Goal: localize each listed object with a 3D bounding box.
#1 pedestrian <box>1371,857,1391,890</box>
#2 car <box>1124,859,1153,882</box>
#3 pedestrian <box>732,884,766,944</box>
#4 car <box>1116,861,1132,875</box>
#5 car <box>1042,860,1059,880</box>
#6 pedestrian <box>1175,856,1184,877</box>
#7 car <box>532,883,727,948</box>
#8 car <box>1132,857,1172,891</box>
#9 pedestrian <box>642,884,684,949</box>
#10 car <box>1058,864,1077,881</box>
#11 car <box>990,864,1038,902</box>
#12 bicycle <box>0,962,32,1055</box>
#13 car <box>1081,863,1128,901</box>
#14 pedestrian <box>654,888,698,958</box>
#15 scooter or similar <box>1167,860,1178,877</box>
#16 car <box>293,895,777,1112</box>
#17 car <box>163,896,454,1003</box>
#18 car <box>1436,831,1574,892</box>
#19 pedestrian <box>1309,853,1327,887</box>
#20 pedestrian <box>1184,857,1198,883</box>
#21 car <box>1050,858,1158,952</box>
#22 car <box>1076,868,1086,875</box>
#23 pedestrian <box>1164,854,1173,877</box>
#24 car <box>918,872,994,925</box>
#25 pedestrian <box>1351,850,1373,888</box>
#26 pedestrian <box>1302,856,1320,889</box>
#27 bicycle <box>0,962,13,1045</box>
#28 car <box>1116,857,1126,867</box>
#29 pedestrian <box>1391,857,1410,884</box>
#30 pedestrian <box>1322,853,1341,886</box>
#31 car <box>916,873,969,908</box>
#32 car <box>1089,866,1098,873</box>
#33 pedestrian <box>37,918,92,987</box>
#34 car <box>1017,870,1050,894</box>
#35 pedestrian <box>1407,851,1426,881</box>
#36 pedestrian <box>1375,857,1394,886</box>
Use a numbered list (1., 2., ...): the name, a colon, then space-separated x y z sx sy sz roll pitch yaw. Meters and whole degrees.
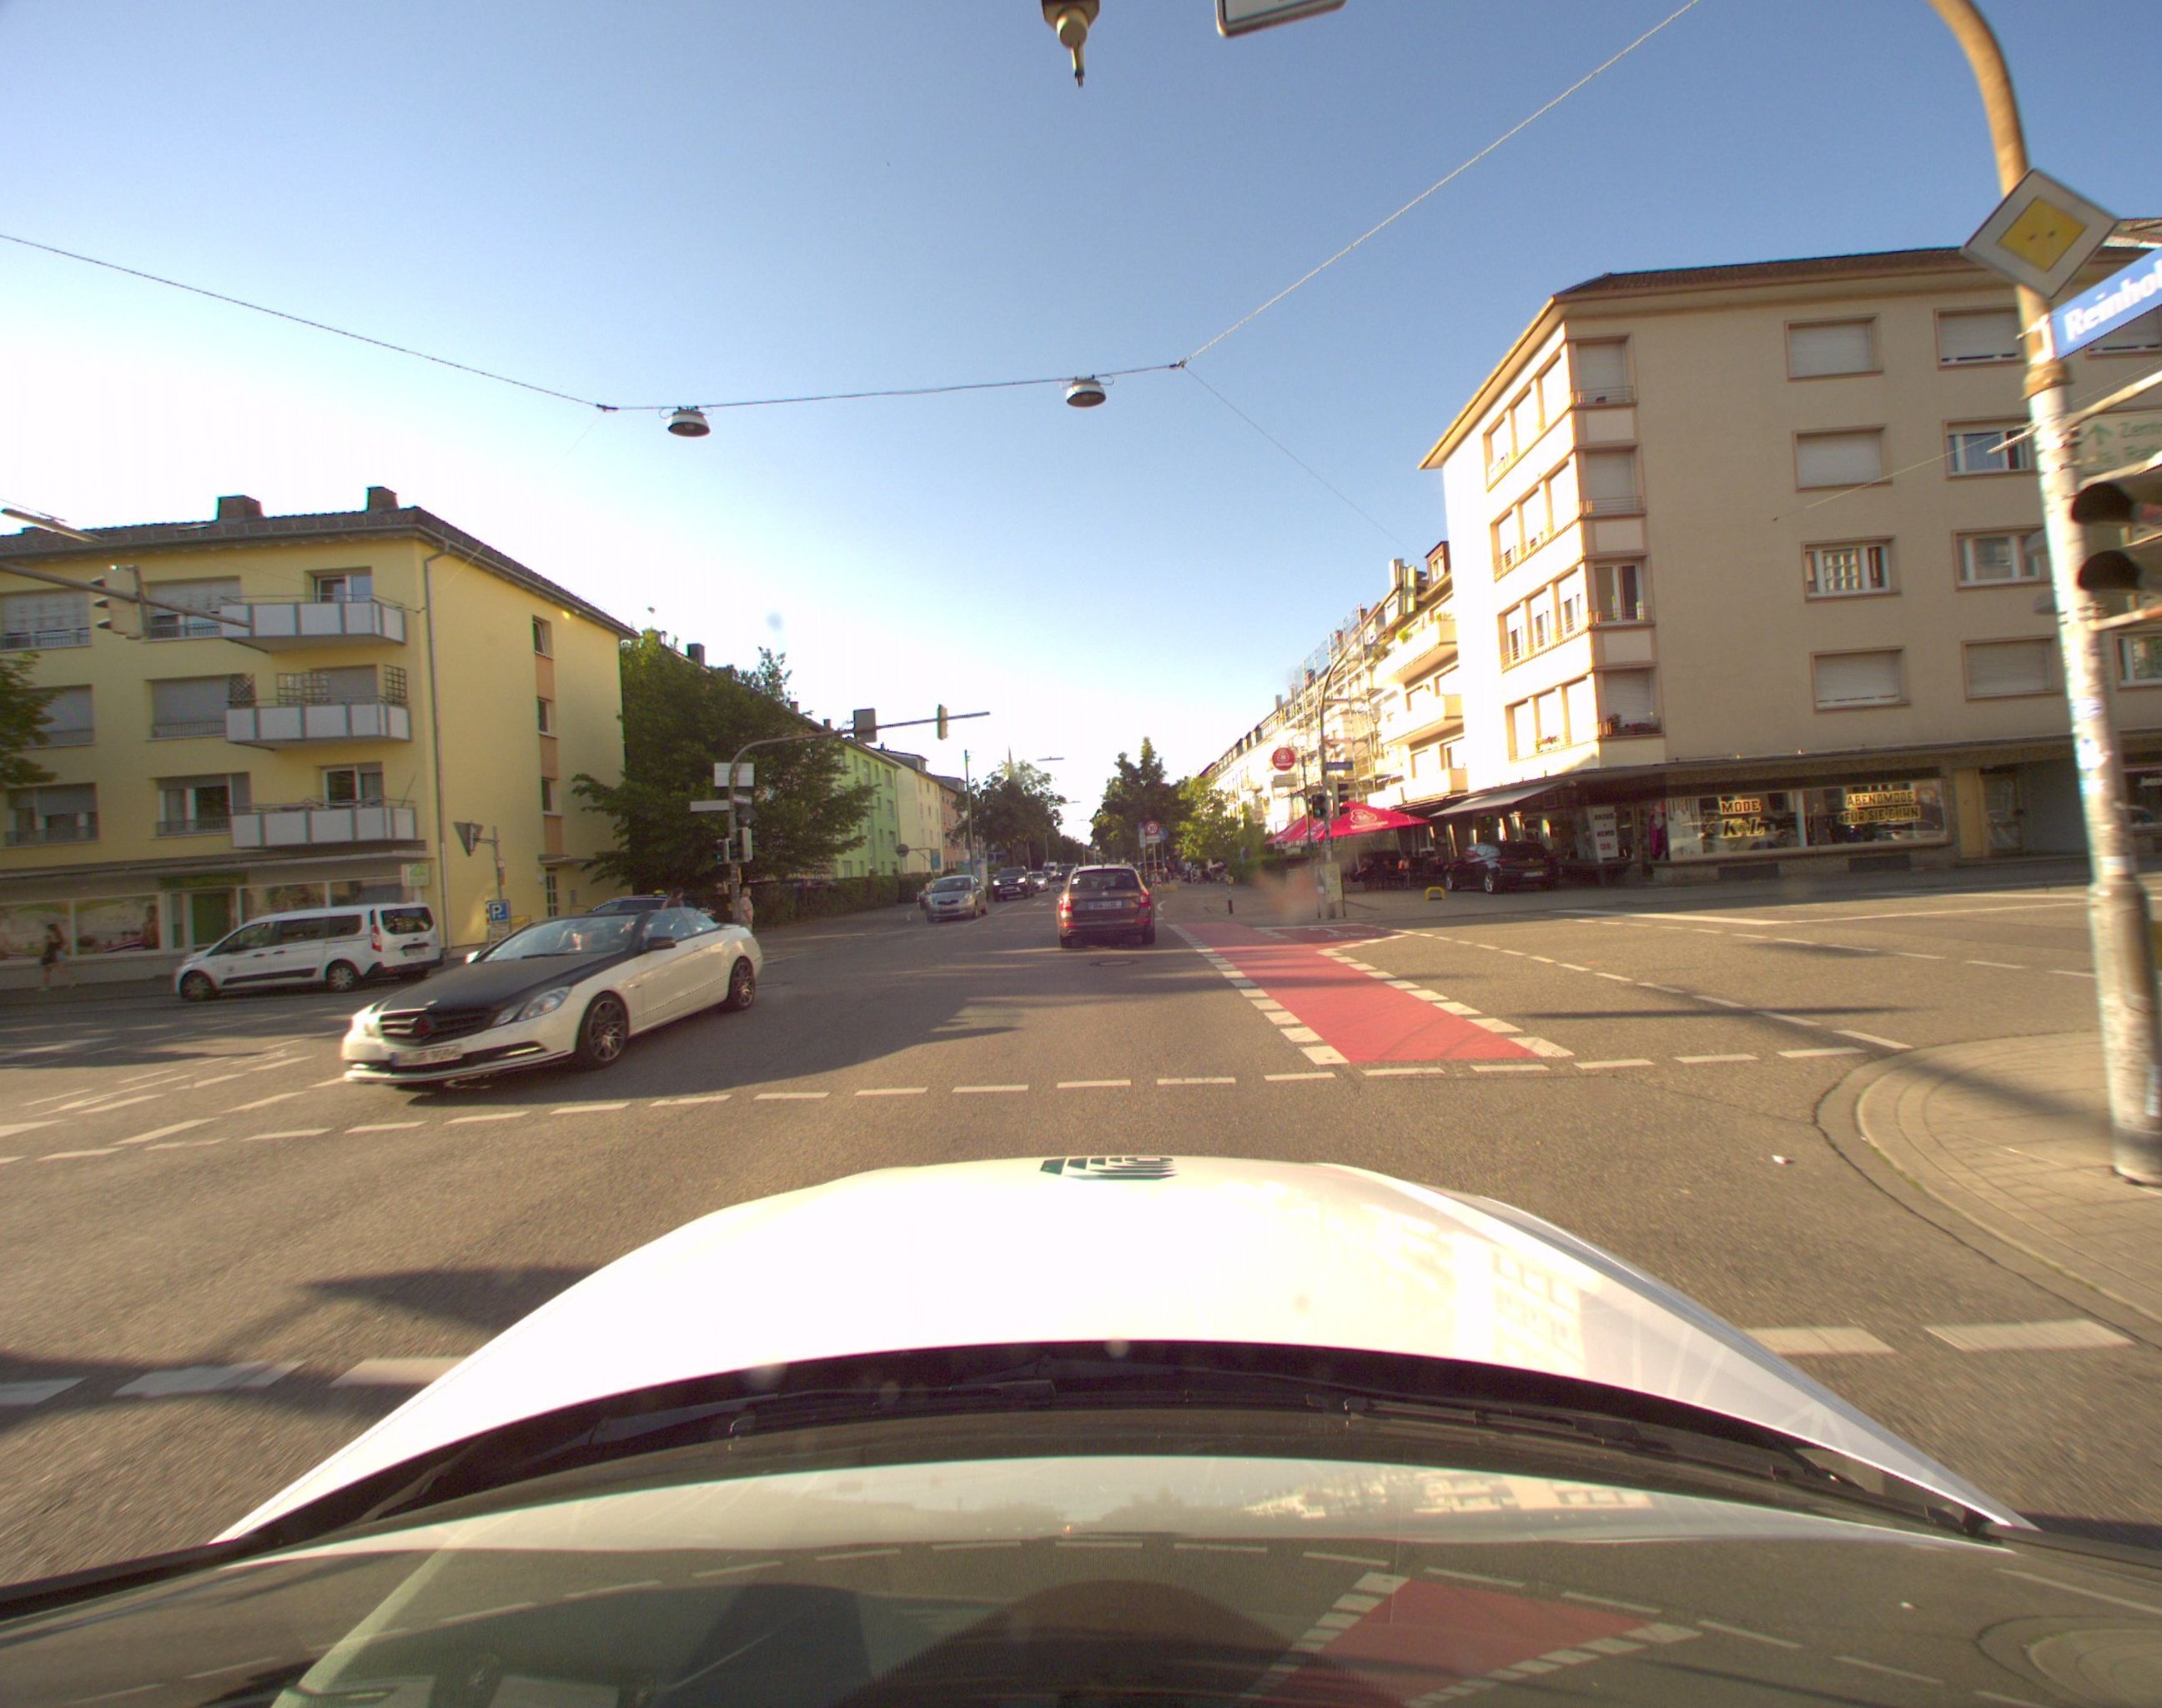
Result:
1. pedestrian: 10.843 0.692 29.456 0.521 1.150 0.414 -3 -1 7
2. car: 4.418 1.278 62.994 1.717 1.655 4.595 -3 -1 -1
3. pedestrian: -8.961 1.610 21.990 0.605 1.594 0.749 0 -2 -2
4. car: 5.407 1.811 103.030 1.712 1.601 4.096 -4 -1 1
5. car: -4.337 2.239 116.332 1.986 2.616 7.106 -3 -1 1
6. pedestrian: 7.957 1.002 65.786 0.509 1.697 0.526 -4 -1 -3
7. car: -13.097 1.765 23.820 4.578 1.614 1.842 -2 -1 -2
8. car: 3.768 1.036 43.707 1.786 1.632 4.029 -4 -1 1
9. pedestrian: -10.708 1.583 20.873 0.601 1.630 0.754 -2 -3 38
10. car: -1.611 2.293 101.404 1.987 1.946 4.778 -6 -1 1
11. car: -3.686 1.549 45.424 1.855 1.829 5.230 -6 -1 2
12. bicycle: -15.097 2.100 10.489 1.990 1.166 0.727 -4 0 -5
13. car: 0.978 1.191 34.685 1.885 1.506 3.790 0 -2 1
14. pedestrian: -10.114 1.700 20.348 0.746 1.657 0.607 -4 -1 -6
15. scooter or similar: 7.340 1.149 65.475 0.742 1.317 0.722 -4 -1 8
16. car: -4.919 1.232 8.319 1.835 1.320 4.441 -5 -1 0
17. car: -16.720 2.016 17.804 4.457 1.848 1.908 -4 -1 0
18. car: 12.071 0.230 23.553 1.821 1.484 4.205 -4 -1 2
19. pedestrian: 8.236 0.556 28.332 0.410 1.150 0.632 -3 -1 5
20. pedestrian: 6.854 0.975 50.792 0.557 1.568 0.744 -3 -1 -17
21. car: 0.497 0.873 15.572 1.747 1.492 4.003 -2 -1 3
22. car: -0.051 3.726 174.686 1.692 1.470 4.298 -5 -1 4
23. pedestrian: 7.049 0.910 65.519 0.545 1.849 0.766 -4 -1 8
24. car: -4.332 1.496 28.740 1.798 1.557 4.001 -5 -1 2
25. pedestrian: 9.836 0.511 28.503 0.522 1.283 0.541 -3 -1 3
26. pedestrian: 8.270 0.679 29.276 0.491 1.150 0.526 -3 -1 5
27. bicycle: -16.280 2.183 11.199 1.989 1.157 0.727 -4 0 -5
28. car: 7.505 1.467 152.359 1.747 1.686 4.255 -2 -1 3
29. pedestrian: 12.100 0.639 30.853 0.521 0.991 0.414 -3 -1 7
30. pedestrian: 9.023 0.543 29.316 0.483 1.150 0.526 -3 -1 5
31. car: -6.746 1.754 40.073 1.647 1.479 3.945 -4 -1 3
32. car: 3.455 4.285 222.531 1.990 1.750 3.994 -4 -1 -4
33. pedestrian: -27.053 2.616 21.678 0.574 1.720 0.647 -4 -1 -1
34. car: -3.340 1.960 58.055 1.830 1.473 4.672 -5 -1 2
35. pedestrian: 13.609 0.482 33.031 0.521 1.189 0.414 -3 -3 7
36. pedestrian: 11.522 0.672 30.942 0.521 1.049 0.414 -3 -1 7
